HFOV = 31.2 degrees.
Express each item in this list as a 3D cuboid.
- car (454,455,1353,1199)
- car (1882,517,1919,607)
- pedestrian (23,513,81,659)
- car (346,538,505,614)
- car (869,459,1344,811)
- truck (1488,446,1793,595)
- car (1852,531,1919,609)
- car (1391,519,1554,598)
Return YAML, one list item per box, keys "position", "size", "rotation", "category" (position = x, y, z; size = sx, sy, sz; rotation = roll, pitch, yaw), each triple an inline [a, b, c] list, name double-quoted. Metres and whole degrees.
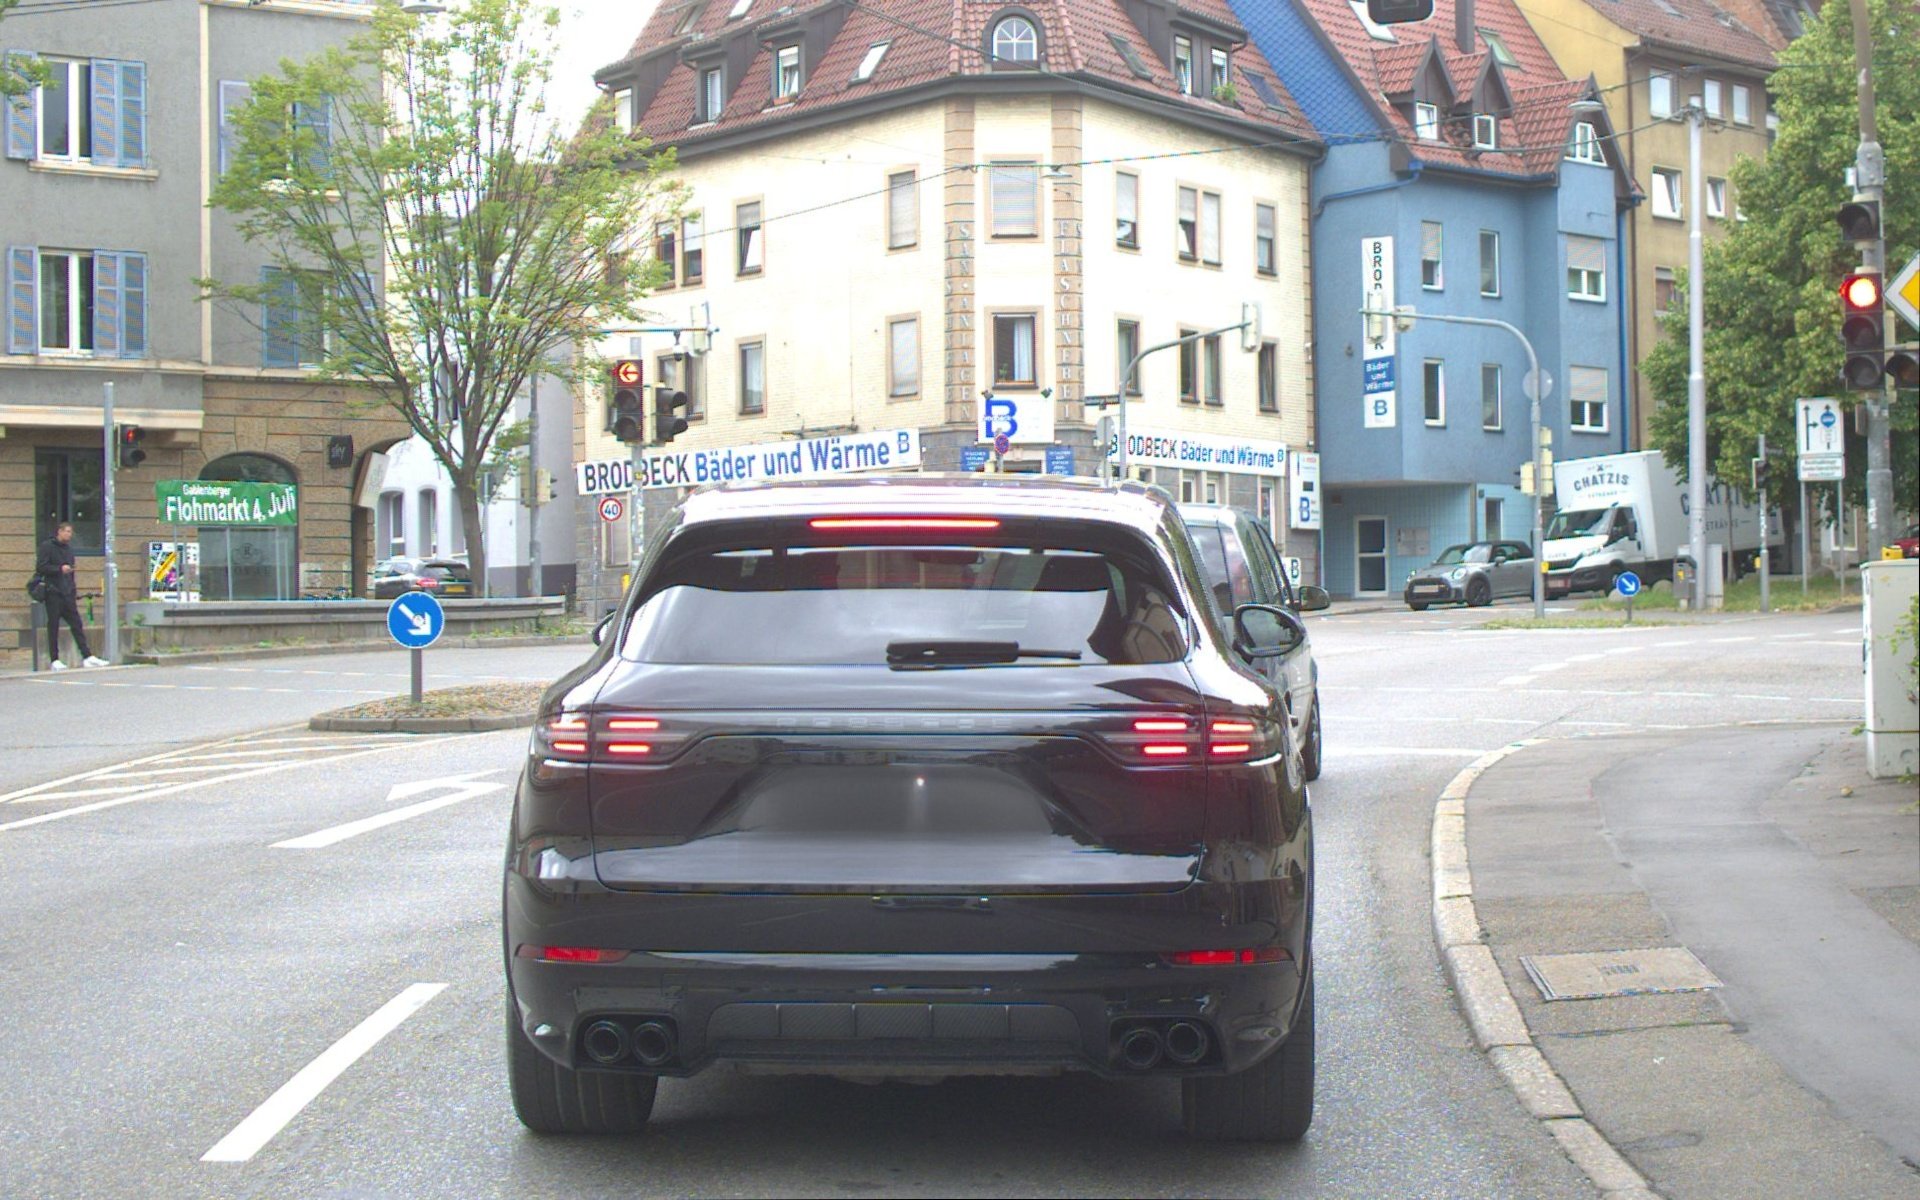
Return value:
- position: [-0.208, 0.462, 9.579]
  size: [1.978, 1.678, 4.001]
  rotation: [0, 2, -3]
  category: "car"
- position: [18.910, -0.740, 65.885]
  size: [1.994, 1.678, 3.999]
  rotation: [0, 1, 9]
  category: "car"
- position: [-10.899, -0.169, 41.281]
  size: [0.513, 1.724, 0.451]
  rotation: [2, 1, 3]
  category: "pedestrian"
- position: [-12.294, -0.554, 78.927]
  size: [1.994, 1.678, 3.999]
  rotation: [1, 0, -35]
  category: "car"
- position: [0.911, 0.138, 18.536]
  size: [1.994, 1.678, 3.998]
  rotation: [0, 1, 11]
  category: "car"
- position: [16.359, -1.852, 82.138]
  size: [2.880, 3.328, 8.771]
  rotation: [2, 1, 43]
  category: "truck"
- position: [25.893, -0.777, 92.264]
  size: [1.999, 2.007, 3.989]
  rotation: [2, 1, 44]
  category: "car"
- position: [11.268, -0.908, 75.390]
  size: [1.997, 1.678, 3.992]
  rotation: [0, 1, 34]
  category: "car"
